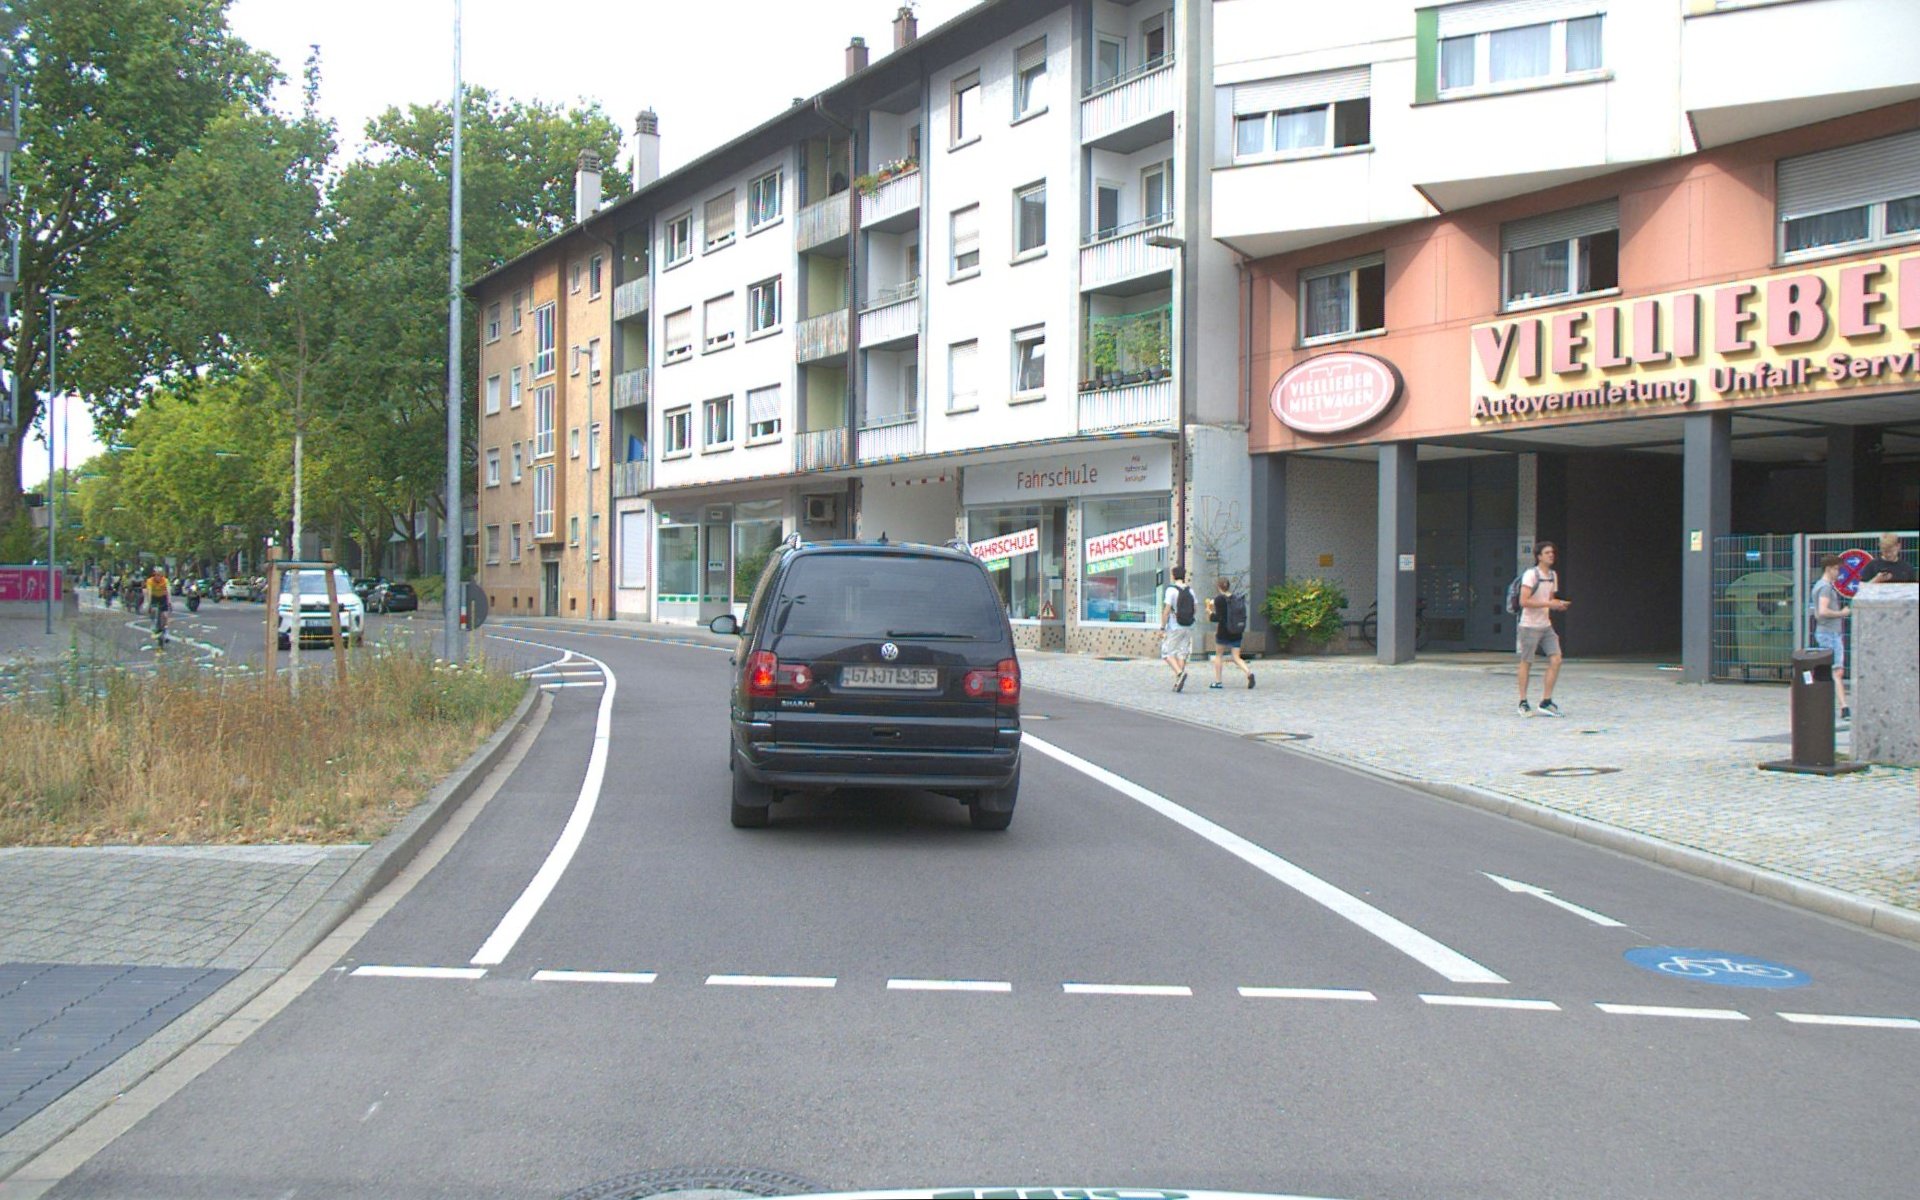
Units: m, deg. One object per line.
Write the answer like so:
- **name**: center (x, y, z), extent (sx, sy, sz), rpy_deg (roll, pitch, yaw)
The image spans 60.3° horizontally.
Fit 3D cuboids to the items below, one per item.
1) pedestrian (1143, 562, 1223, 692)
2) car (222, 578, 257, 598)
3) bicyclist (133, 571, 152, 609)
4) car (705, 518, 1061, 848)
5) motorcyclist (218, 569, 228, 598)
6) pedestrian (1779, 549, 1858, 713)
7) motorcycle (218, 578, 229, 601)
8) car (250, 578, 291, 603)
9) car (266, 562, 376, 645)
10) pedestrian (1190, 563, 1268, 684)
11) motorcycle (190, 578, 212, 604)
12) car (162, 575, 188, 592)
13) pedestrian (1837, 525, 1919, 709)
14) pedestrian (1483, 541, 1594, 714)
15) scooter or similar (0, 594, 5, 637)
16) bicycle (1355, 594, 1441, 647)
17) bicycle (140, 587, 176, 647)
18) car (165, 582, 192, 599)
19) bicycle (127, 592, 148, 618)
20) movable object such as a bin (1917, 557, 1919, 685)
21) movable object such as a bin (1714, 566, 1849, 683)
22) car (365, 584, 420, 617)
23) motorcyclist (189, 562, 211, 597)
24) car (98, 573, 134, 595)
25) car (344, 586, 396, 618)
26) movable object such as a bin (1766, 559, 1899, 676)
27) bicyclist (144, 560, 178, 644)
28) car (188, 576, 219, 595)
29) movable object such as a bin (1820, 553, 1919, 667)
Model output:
- **pedestrian**: center (3.168, 0.367, 23.562), extent (0.741, 1.780, 0.853), rpy_deg (-3, 2, -24)
- **car**: center (-52.194, -0.842, 119.827), extent (1.660, 1.418, 4.410), rpy_deg (1, 0, -33)
- **bicyclist**: center (-34.369, -0.407, 69.513), extent (0.649, 1.552, 0.993), rpy_deg (2, 0, -28)
- **car**: center (-0.692, 0.452, 11.028), extent (1.780, 1.797, 3.727), rpy_deg (2, 0, -12)
- **motorcyclist**: center (-43.140, -0.945, 96.805), extent (0.442, 1.676, 0.514), rpy_deg (1, 0, -32)
- **pedestrian**: center (9.198, 0.319, 17.732), extent (0.468, 1.702, 0.584), rpy_deg (-3, 2, -31)
- **motorcycle**: center (-43.115, -0.619, 96.772), extent (0.369, 1.373, 1.712), rpy_deg (0, 0, -32)
- **car**: center (-43.178, -0.573, 103.525), extent (1.614, 1.495, 4.269), rpy_deg (1, 0, -33)
- **car**: center (-13.769, 0.048, 35.823), extent (1.802, 1.689, 4.306), rpy_deg (0, 1, -16)
- **pedestrian**: center (3.897, 0.327, 24.010), extent (0.599, 1.697, 0.933), rpy_deg (-3, 2, -33)
- **motorcycle**: center (-33.411, -0.412, 72.778), extent (0.713, 1.114, 2.017), rpy_deg (-2, 1, -28)
- **car**: center (-70.999, -1.488, 149.588), extent (1.660, 1.418, 3.835), rpy_deg (1, 0, -33)
- **pedestrian**: center (9.966, 0.168, 17.882), extent (0.665, 1.936, 0.584), rpy_deg (-3, 2, -31)
- **pedestrian**: center (6.578, 0.298, 18.828), extent (0.649, 1.884, 0.962), rpy_deg (-3, 1, -29)
- **scooter or similar**: center (-29.639, 0.471, 50.405), extent (1.149, 1.287, 0.287), rpy_deg (0, 0, 21)
- **bicycle**: center (8.013, 0.366, 30.328), extent (0.448, 0.912, 1.660), rpy_deg (0, 1, -32)
- **bicycle**: center (-17.062, 0.359, 35.194), extent (0.507, 1.246, 1.546), rpy_deg (0, 0, -33)
- **car**: center (-68.320, -0.857, 144.568), extent (1.660, 1.418, 3.835), rpy_deg (1, 0, -33)
- **bicycle**: center (-34.355, 0.200, 69.067), extent (0.729, 1.024, 1.892), rpy_deg (2, 1, -27)
- **movable object such as a bin**: center (12.280, 0.261, 19.756), extent (1.133, 1.542, 1.076), rpy_deg (0, 1, -33)
- **movable object such as a bin**: center (10.857, 0.307, 21.872), extent (1.135, 1.486, 1.210), rpy_deg (0, 0, -33)
- **car**: center (-26.829, 0.011, 78.073), extent (1.642, 1.447, 3.824), rpy_deg (0, 1, -32)
- **motorcyclist**: center (-33.480, -0.904, 72.889), extent (0.787, 1.486, 0.857), rpy_deg (-2, 1, -29)
- **car**: center (-55.951, -1.047, 109.604), extent (1.793, 1.432, 4.558), rpy_deg (0, 0, -32)
- **car**: center (-29.253, 0.079, 81.945), extent (1.642, 1.447, 3.903), rpy_deg (0, 1, -32)
- **movable object such as a bin**: center (11.879, 0.223, 22.530), extent (1.183, 1.542, 1.183), rpy_deg (0, 0, -33)
- **bicyclist**: center (-17.065, 0.040, 35.304), extent (0.533, 1.774, 0.748), rpy_deg (0, 0, -35)
- **car**: center (-60.527, -1.176, 132.279), extent (1.628, 1.438, 3.373), rpy_deg (1, 0, -35)
- **movable object such as a bin**: center (12.880, 0.135, 23.157), extent (0.993, 1.542, 1.154), rpy_deg (0, 0, -33)
